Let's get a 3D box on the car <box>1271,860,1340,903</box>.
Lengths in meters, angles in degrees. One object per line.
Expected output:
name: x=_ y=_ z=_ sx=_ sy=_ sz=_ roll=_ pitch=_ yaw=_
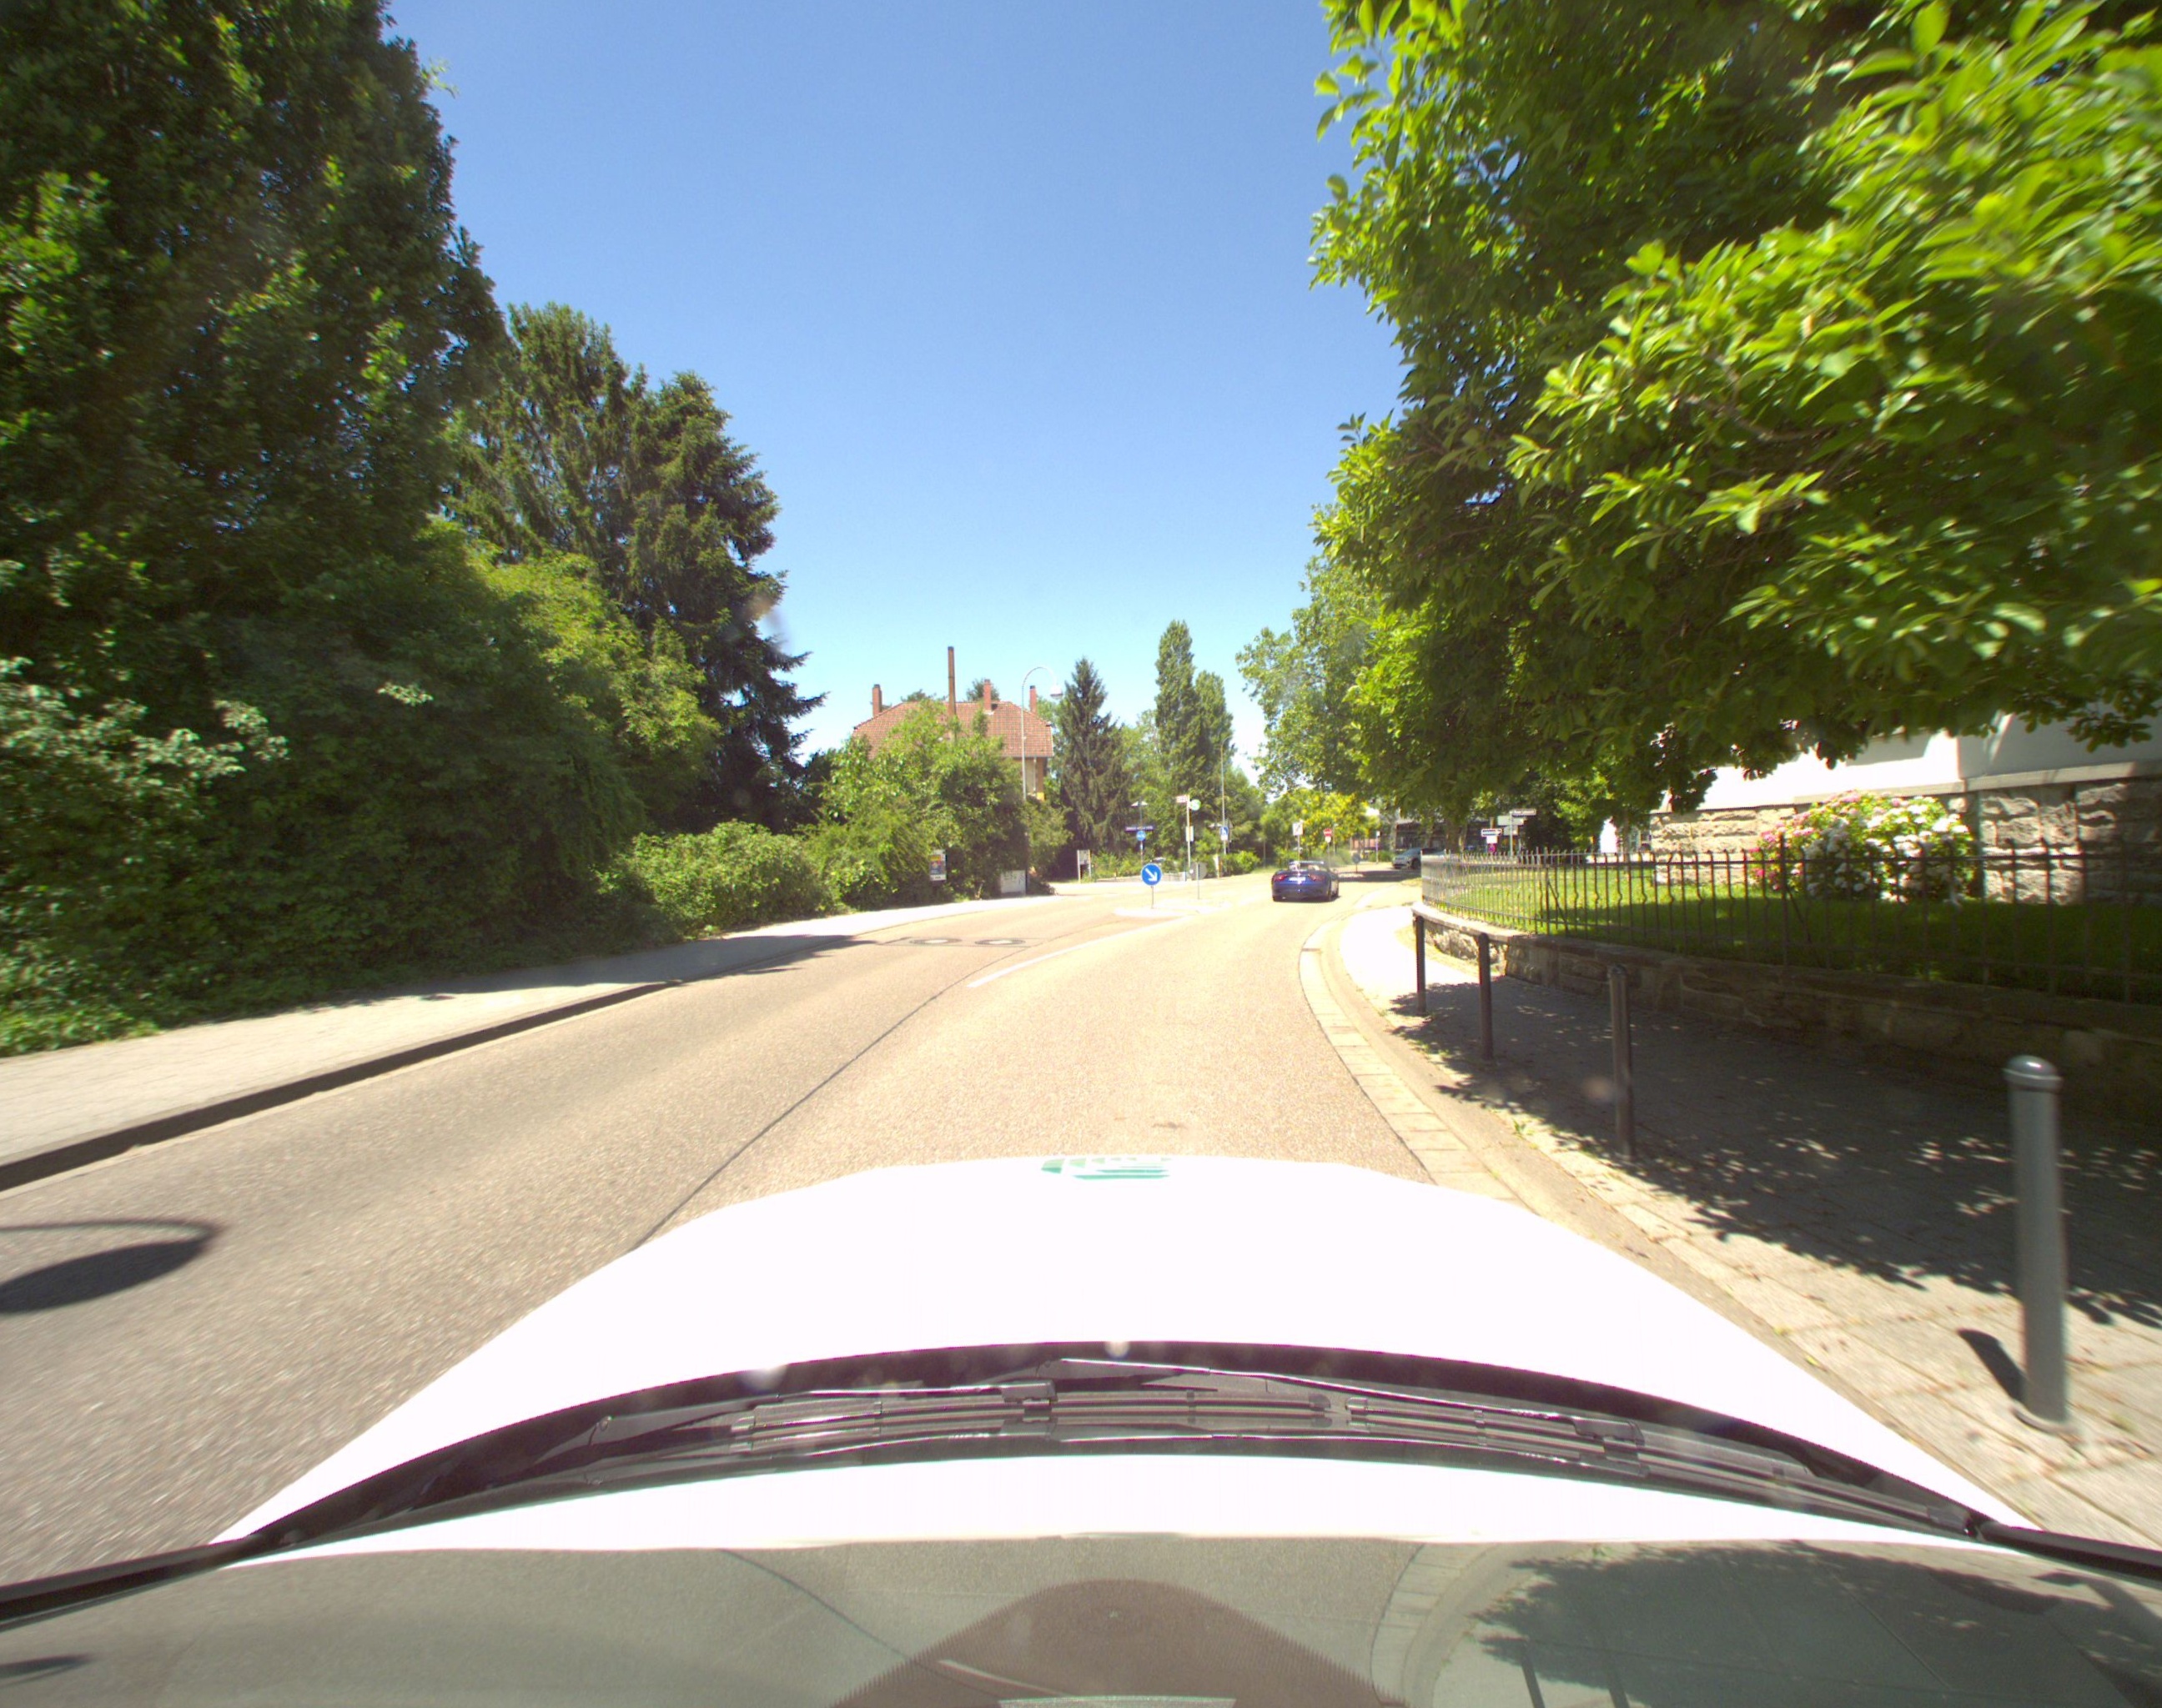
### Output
car: x=7.944 y=0.902 z=28.506 sx=1.811 sy=1.337 sz=4.725 roll=-1 pitch=0 yaw=22

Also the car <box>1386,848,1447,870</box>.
car: x=25.353 y=0.392 z=61.524 sx=4.483 sy=1.576 sz=1.810 roll=-1 pitch=-1 yaw=-27
